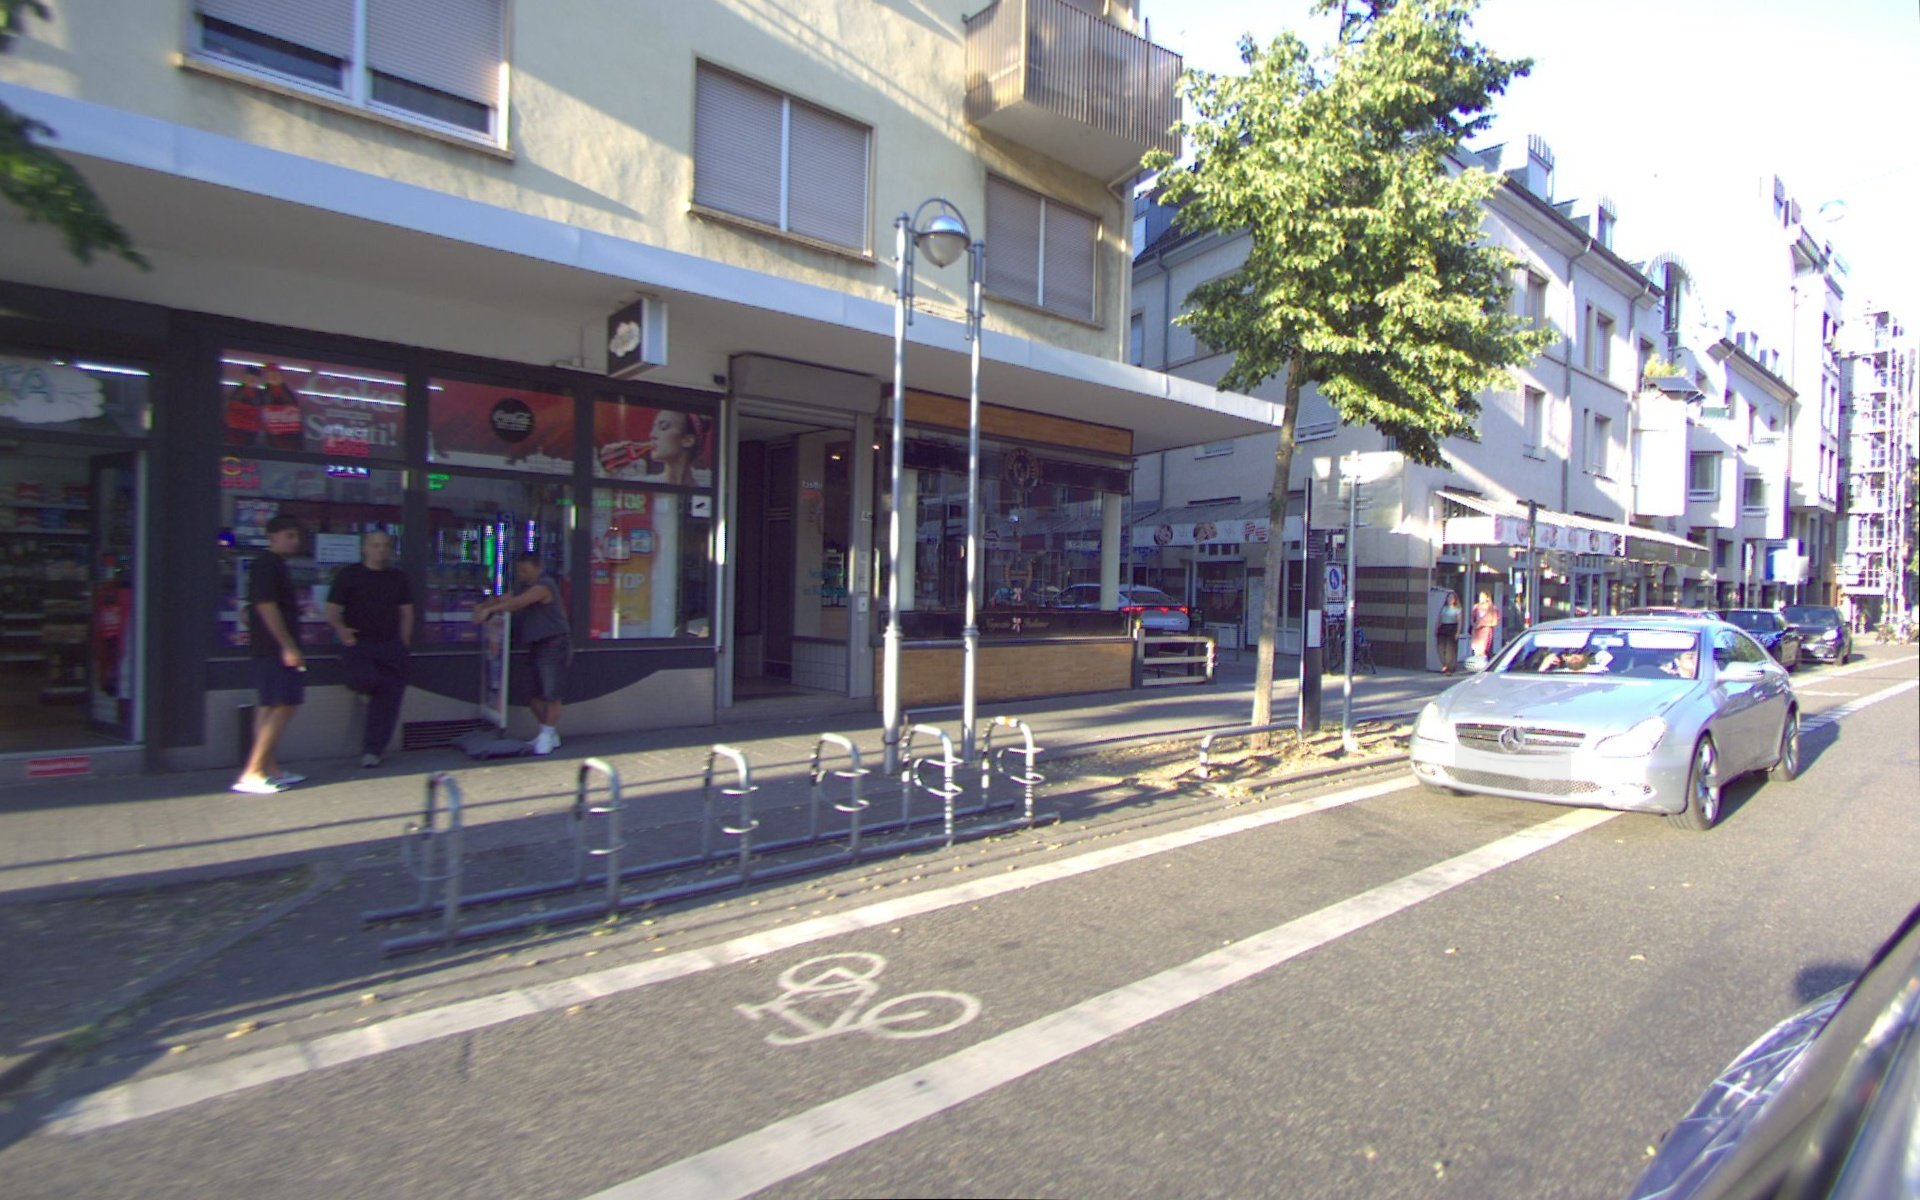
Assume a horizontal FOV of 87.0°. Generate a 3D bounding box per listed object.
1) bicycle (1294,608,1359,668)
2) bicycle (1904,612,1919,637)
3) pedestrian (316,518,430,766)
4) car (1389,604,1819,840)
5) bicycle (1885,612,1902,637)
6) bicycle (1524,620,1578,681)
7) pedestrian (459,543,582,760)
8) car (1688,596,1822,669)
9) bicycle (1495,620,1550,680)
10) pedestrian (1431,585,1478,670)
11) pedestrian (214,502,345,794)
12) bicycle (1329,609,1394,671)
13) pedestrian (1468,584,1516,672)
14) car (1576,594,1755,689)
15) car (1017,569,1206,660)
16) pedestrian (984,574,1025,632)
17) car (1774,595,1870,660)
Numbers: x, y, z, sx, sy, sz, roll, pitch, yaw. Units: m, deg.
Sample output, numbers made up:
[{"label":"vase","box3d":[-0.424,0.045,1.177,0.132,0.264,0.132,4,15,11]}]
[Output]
[{"label":"bicycle","box3d":[6.844,0.683,18.849,1.814,1.046,0.391,0,1,-45]},{"label":"bicycle","box3d":[39.192,1.007,41.631,0.468,0.970,1.888,2,1,44]},{"label":"pedestrian","box3d":[-4.503,0.309,7.767,0.577,1.806,0.523,-1,-1,30]},{"label":"car","box3d":[5.373,0.731,8.173,4.473,1.395,1.803,0,-1,-42]},{"label":"bicycle","box3d":[38.872,1.013,42.146,0.468,0.970,1.890,2,1,42]},{"label":"bicycle","box3d":[10.157,0.853,17.372,1.589,0.968,0.391,0,1,-45]},{"label":"pedestrian","box3d":[-3.622,0.403,8.348,0.763,1.681,0.643,1,-2,-41]},{"label":"car","box3d":[17.840,0.668,22.665,3.684,1.439,1.725,0,2,-42]},{"label":"bicycle","box3d":[9.846,0.855,17.687,1.613,0.968,0.391,0,1,-45]},{"label":"pedestrian","box3d":[9.247,0.503,18.925,0.638,1.549,0.542,1,1,-36]},{"label":"pedestrian","box3d":[-4.602,0.303,6.838,0.639,1.830,0.709,1,-2,-40]},{"label":"bicycle","box3d":[7.290,0.700,18.339,1.814,1.063,0.391,0,1,-45]},{"label":"pedestrian","box3d":[9.551,0.489,18.172,0.544,1.549,0.542,1,1,-36]},{"label":"car","box3d":[12.594,0.663,17.992,3.963,1.439,1.725,0,2,-42]},{"label":"car","box3d":[3.061,0.219,21.312,1.818,1.631,4.191,1,2,-27]},{"label":"pedestrian","box3d":[1.313,0.078,29.904,0.911,1.665,0.748,1,1,37]},{"label":"car","box3d":[22.998,0.689,26.985,2.755,1.568,1.570,0,2,-42]}]
